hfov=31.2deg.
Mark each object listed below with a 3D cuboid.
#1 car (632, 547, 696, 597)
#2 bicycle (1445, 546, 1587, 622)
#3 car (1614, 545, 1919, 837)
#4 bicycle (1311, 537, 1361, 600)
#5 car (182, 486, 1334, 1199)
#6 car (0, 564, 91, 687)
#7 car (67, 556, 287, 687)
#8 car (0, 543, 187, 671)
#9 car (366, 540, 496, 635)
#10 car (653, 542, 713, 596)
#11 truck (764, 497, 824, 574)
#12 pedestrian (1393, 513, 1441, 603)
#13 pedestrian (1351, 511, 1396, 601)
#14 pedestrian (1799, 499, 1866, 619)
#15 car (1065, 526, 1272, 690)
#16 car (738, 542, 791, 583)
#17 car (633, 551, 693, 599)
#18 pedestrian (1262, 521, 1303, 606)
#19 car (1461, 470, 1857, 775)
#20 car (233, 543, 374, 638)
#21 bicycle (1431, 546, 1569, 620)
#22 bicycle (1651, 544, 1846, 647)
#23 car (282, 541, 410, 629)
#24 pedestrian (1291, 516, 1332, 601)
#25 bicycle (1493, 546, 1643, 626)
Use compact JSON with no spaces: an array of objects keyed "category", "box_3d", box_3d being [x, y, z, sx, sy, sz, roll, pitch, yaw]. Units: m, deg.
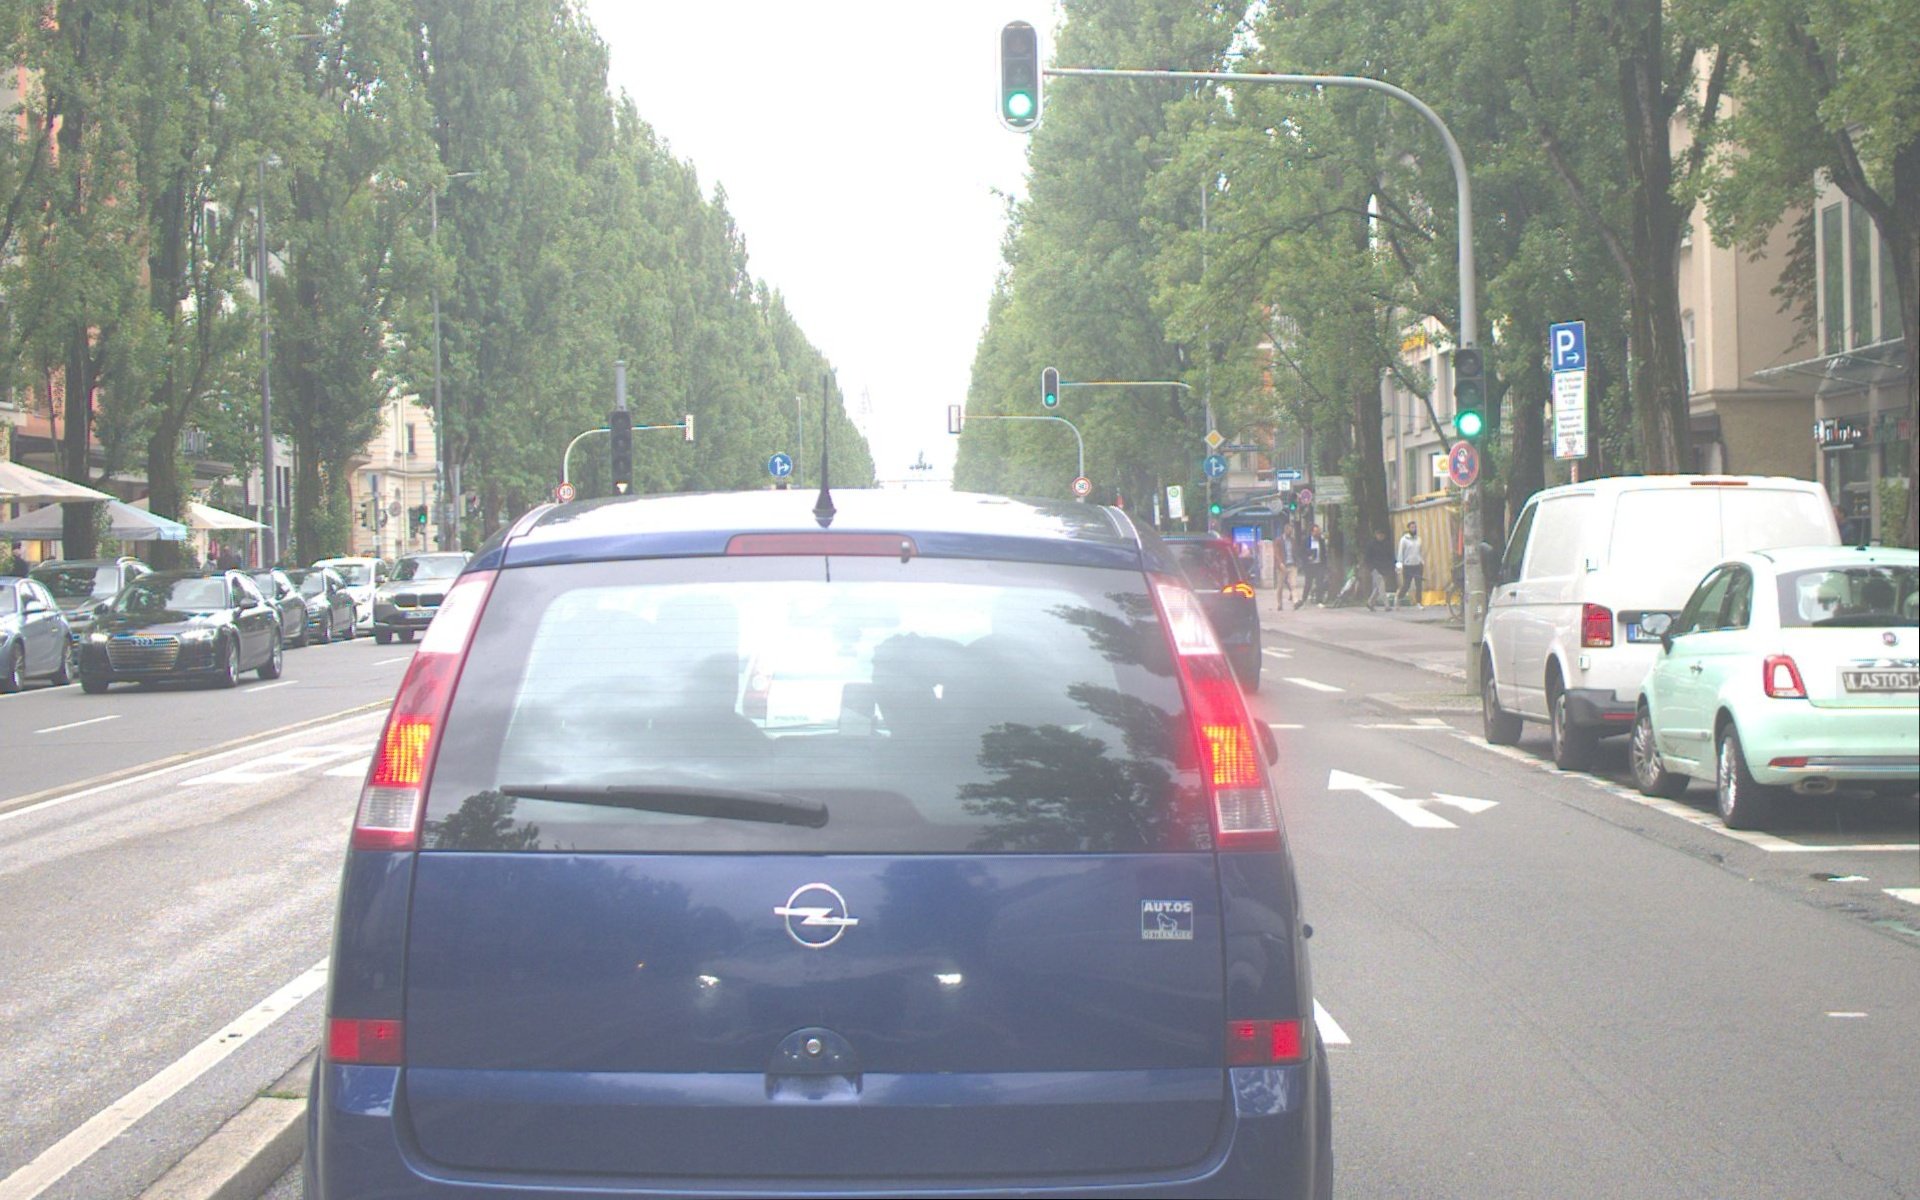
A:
[{"category":"car","box_3d":[-10.206,-0.989,118.813,1.866,1.660,4.120,-1,1,-1]},{"category":"bicycle","box_3d":[9.251,-0.270,57.189,2.227,1.200,0.626,-1,1,-2]},{"category":"car","box_3d":[4.779,0.438,19.322,1.541,1.487,3.523,0,1,0]},{"category":"bicycle","box_3d":[8.279,-0.708,75.755,0.772,1.344,2.449,-1,1,-1]},{"category":"car","box_3d":[-0.306,0.579,7.000,1.671,1.563,4.000,0,1,0]},{"category":"car","box_3d":[-12.245,0.318,42.923,1.733,1.421,4.144,-2,1,-1]},{"category":"car","box_3d":[-9.558,0.230,42.282,1.745,1.429,4.130,-2,1,-1]},{"category":"car","box_3d":[-12.381,0.063,48.662,1.866,1.660,4.401,-2,1,-1]},{"category":"car","box_3d":[-9.730,-0.256,63.529,1.770,1.629,4.456,-2,1,-1]},{"category":"car","box_3d":[-10.582,-1.188,131.700,1.993,2.007,4.000,-1,1,-1]},{"category":"truck","box_3d":[-7.421,-2.877,154.047,2.383,3.335,7.111,-1,1,-1]},{"category":"pedestrian","box_3d":[9.293,-0.855,69.909,0.719,1.820,0.888,1,0,-10]},{"category":"pedestrian","box_3d":[8.379,-0.891,69.668,0.636,1.820,0.888,1,0,-10]},{"category":"pedestrian","box_3d":[12.418,-0.585,48.939,0.673,1.680,0.759,-2,0,-5]},{"category":"car","box_3d":[2.114,0.041,35.870,1.896,1.616,4.000,0,1,0]},{"category":"car","box_3d":[-7.094,-1.367,124.736,1.735,1.460,3.365,-1,1,-1]},{"category":"car","box_3d":[-10.824,-0.925,125.621,1.866,1.660,4.120,-1,1,-1]},{"category":"pedestrian","box_3d":[6.932,-0.790,73.972,0.636,1.820,0.888,1,0,-10]},{"category":"car","box_3d":[4.826,0.100,24.396,1.787,1.939,4.731,0,1,-1]},{"category":"car","box_3d":[-12.471,-0.205,65.496,1.866,1.660,4.120,-2,1,-1]},{"category":"bicycle","box_3d":[9.206,-0.291,58.682,2.227,1.200,0.626,-1,1,-2]},{"category":"bicycle","box_3d":[9.701,-0.057,42.341,2.227,1.200,0.626,-1,1,-2]},{"category":"car","box_3d":[-12.604,-0.330,70.756,1.866,1.660,4.120,-2,1,-1]},{"category":"pedestrian","box_3d":[7.585,-0.900,74.249,0.636,1.820,0.888,1,0,-10]},{"category":"bicycle","box_3d":[9.613,-0.231,54.392,2.227,1.200,0.626,-1,1,-2]}]
